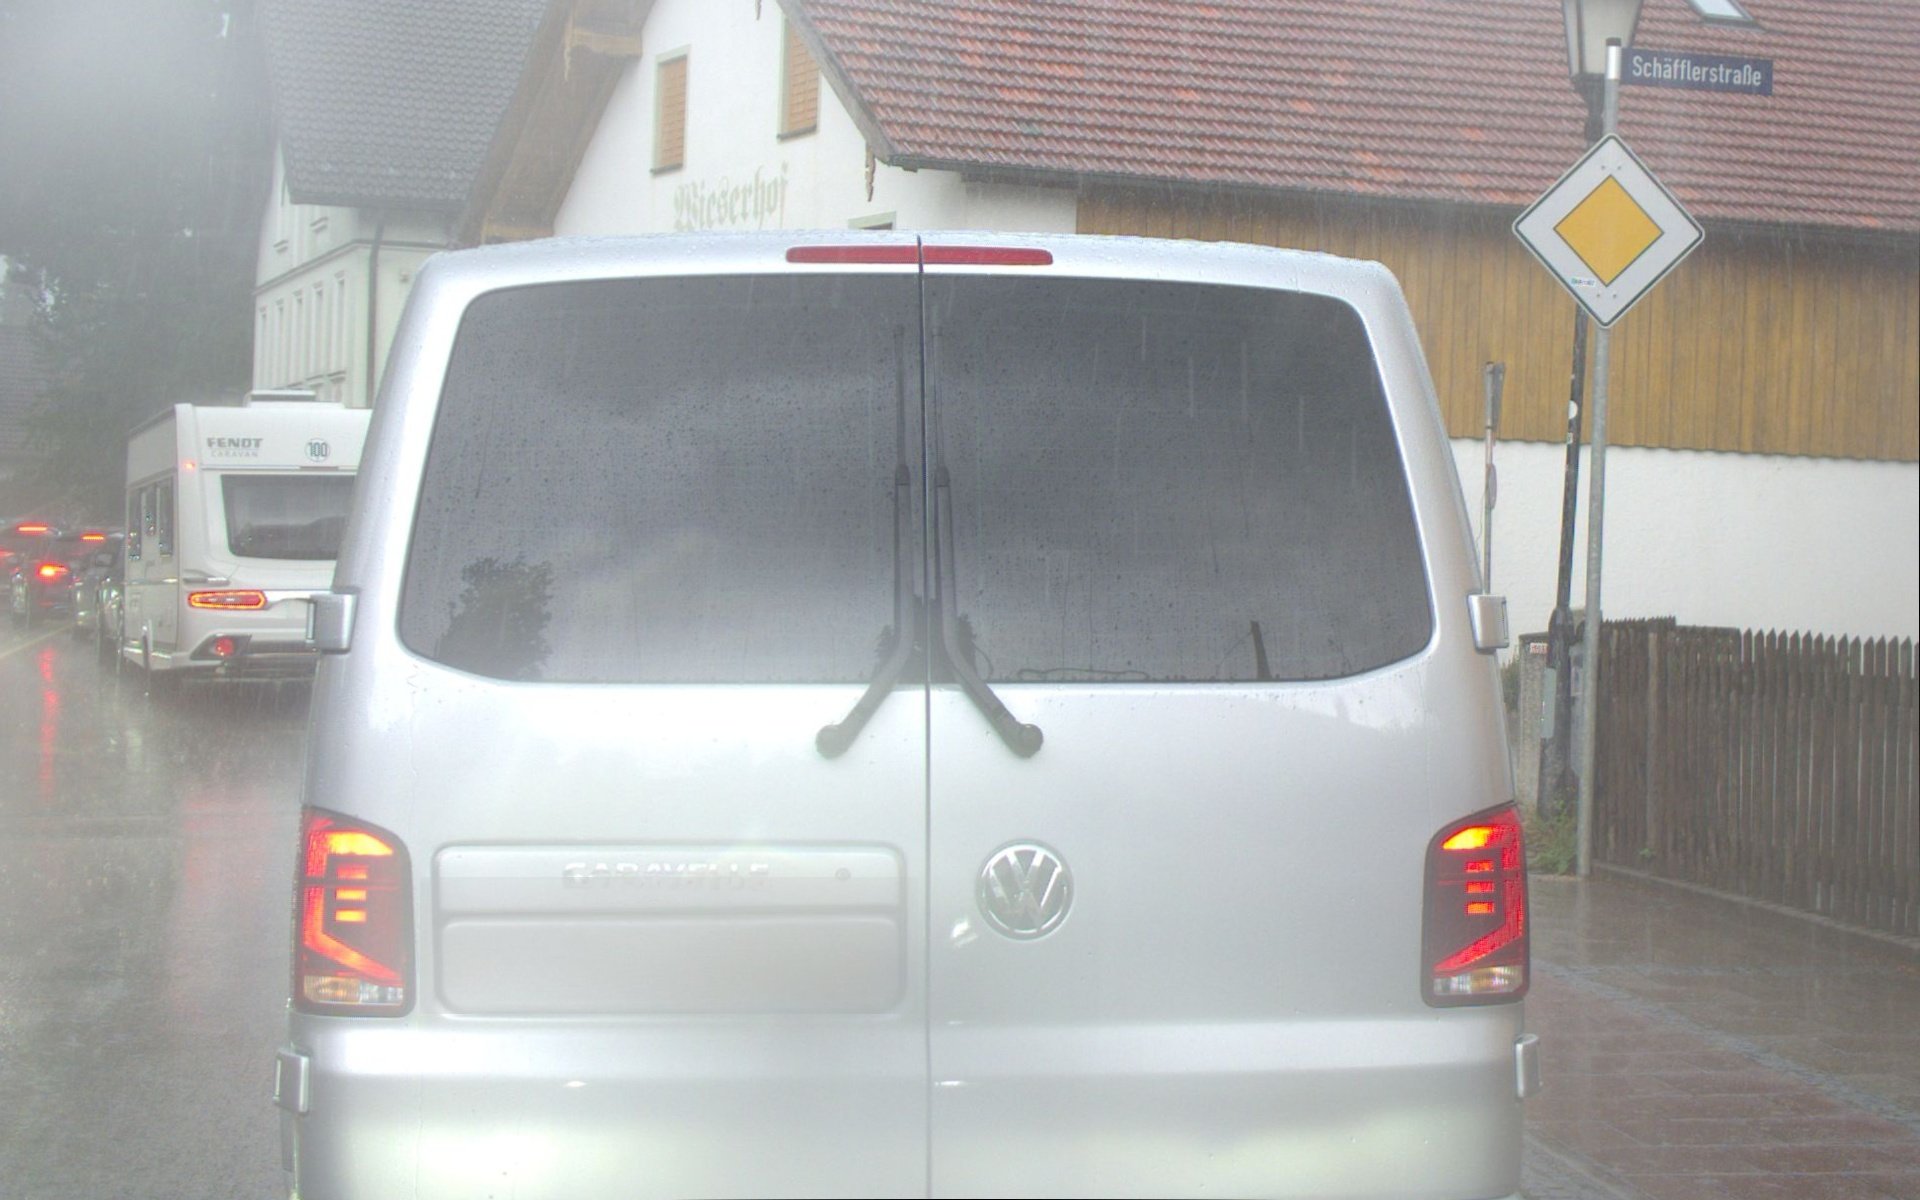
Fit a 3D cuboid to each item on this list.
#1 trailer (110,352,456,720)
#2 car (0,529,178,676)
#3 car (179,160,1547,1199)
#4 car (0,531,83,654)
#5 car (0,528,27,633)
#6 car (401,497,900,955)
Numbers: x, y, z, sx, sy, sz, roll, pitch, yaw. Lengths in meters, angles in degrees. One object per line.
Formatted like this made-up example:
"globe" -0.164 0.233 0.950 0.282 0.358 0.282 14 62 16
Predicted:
"trailer" -6.101 -0.548 30.315 2.270 2.894 6.134 1 1 -18
"car" -12.890 -0.003 50.294 2.168 1.892 5.016 2 1 -20
"car" -0.284 0.386 7.023 1.776 1.956 5.075 0 1 -4
"car" -16.307 -0.193 58.431 2.168 1.892 5.016 2 1 -20
"car" -19.387 -0.449 66.395 2.168 1.892 5.016 2 1 -20
"car" -1.455 0.372 14.430 1.708 1.578 4.687 -1 2 -9
